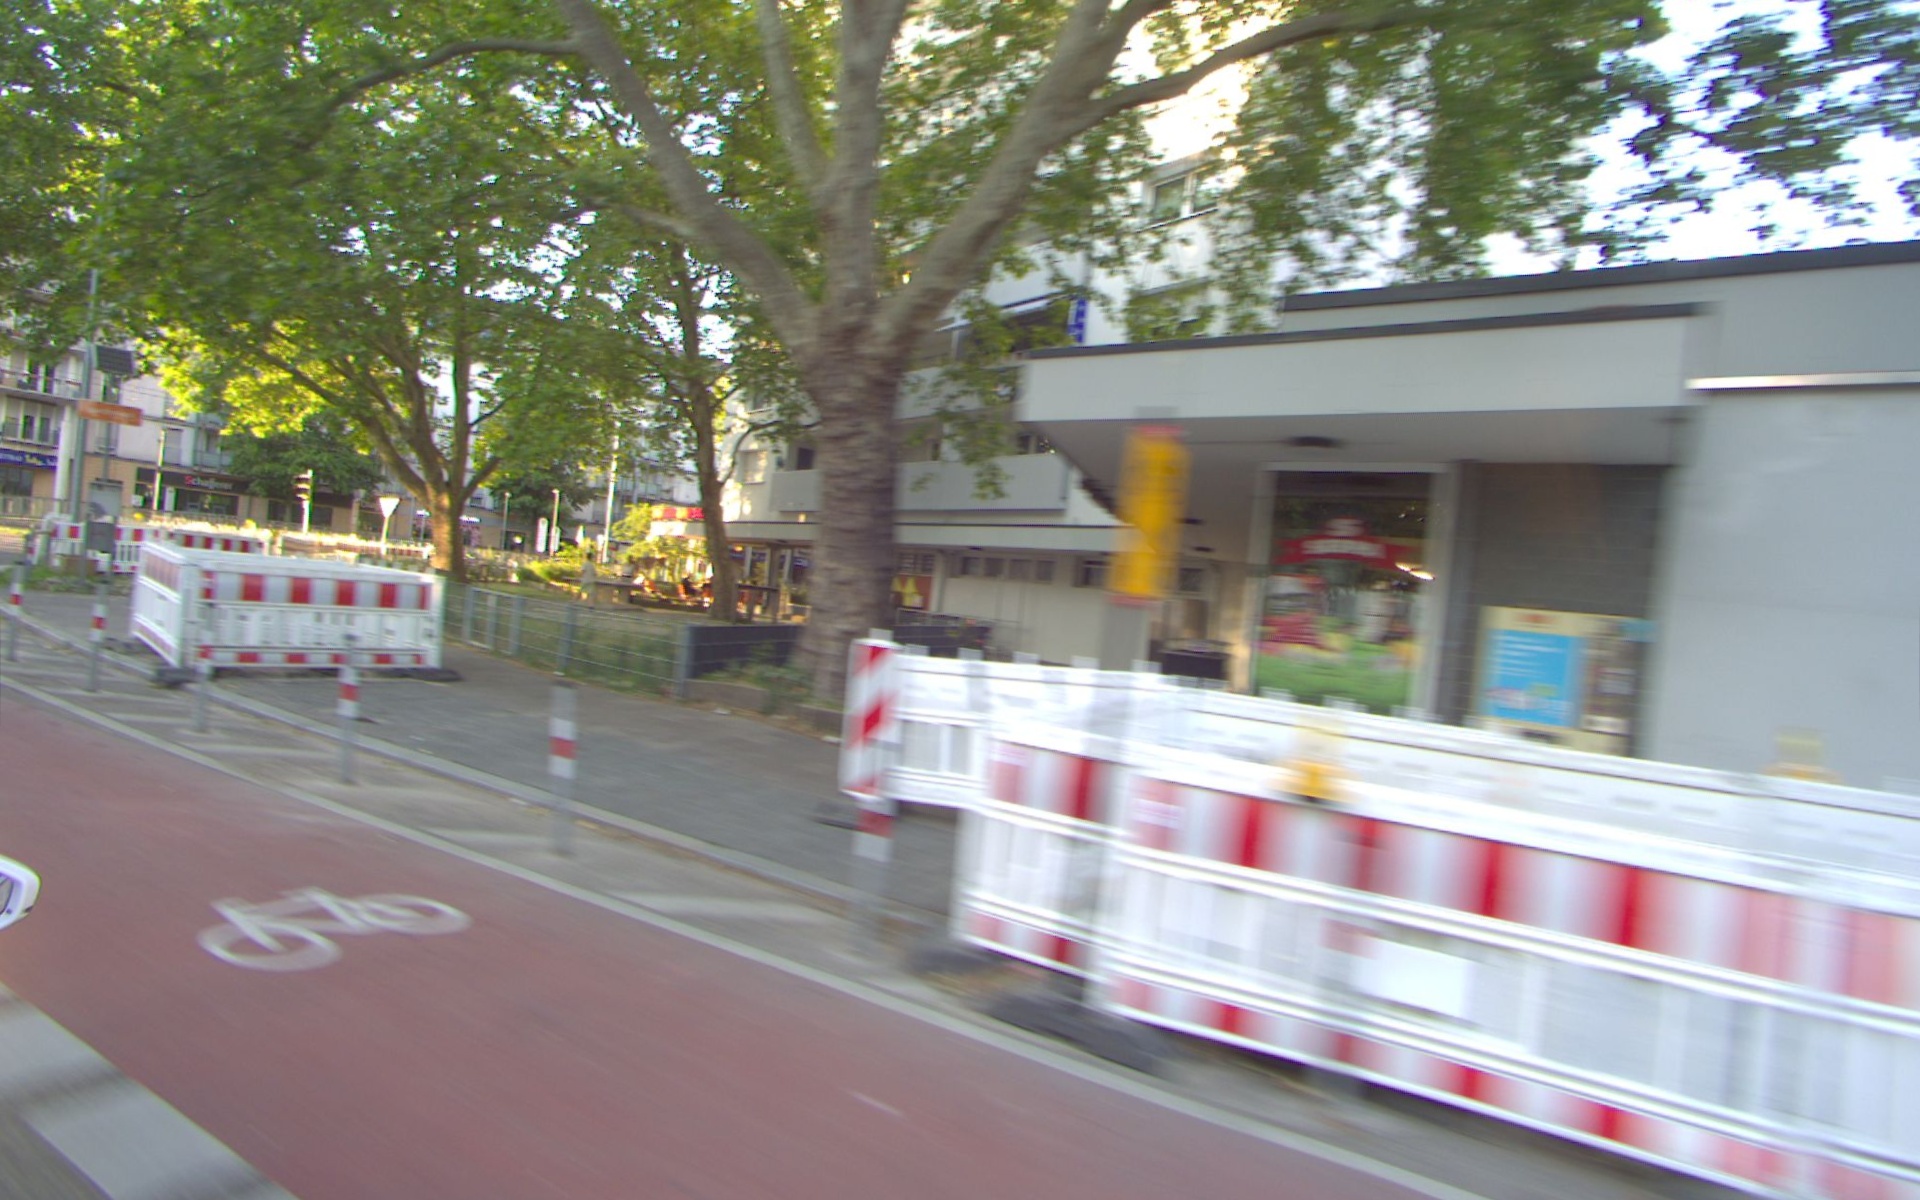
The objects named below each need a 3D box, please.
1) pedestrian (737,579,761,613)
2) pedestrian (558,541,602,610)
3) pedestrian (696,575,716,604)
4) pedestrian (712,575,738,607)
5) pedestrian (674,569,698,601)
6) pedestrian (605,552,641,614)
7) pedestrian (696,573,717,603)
[{"bbox_3d":[-7.846,-0.131,37.414,0.538,1.193,0.558,7,1,17],"label":"pedestrian"},{"bbox_3d":[-10.385,-0.663,27.526,0.704,1.780,0.663,7,1,14],"label":"pedestrian"},{"bbox_3d":[-9.758,-0.391,38.671,0.576,1.041,0.652,6,1,-22],"label":"pedestrian"},{"bbox_3d":[-9.206,-0.355,39.362,0.665,1.150,0.618,6,1,-42],"label":"pedestrian"},{"bbox_3d":[-10.615,-0.575,38.965,0.626,1.126,0.569,6,1,-43],"label":"pedestrian"},{"bbox_3d":[-10.226,-0.521,30.489,0.711,1.780,0.656,6,1,-36],"label":"pedestrian"},{"bbox_3d":[-10.264,-0.483,40.704,0.596,1.143,0.625,7,1,-4],"label":"pedestrian"}]
